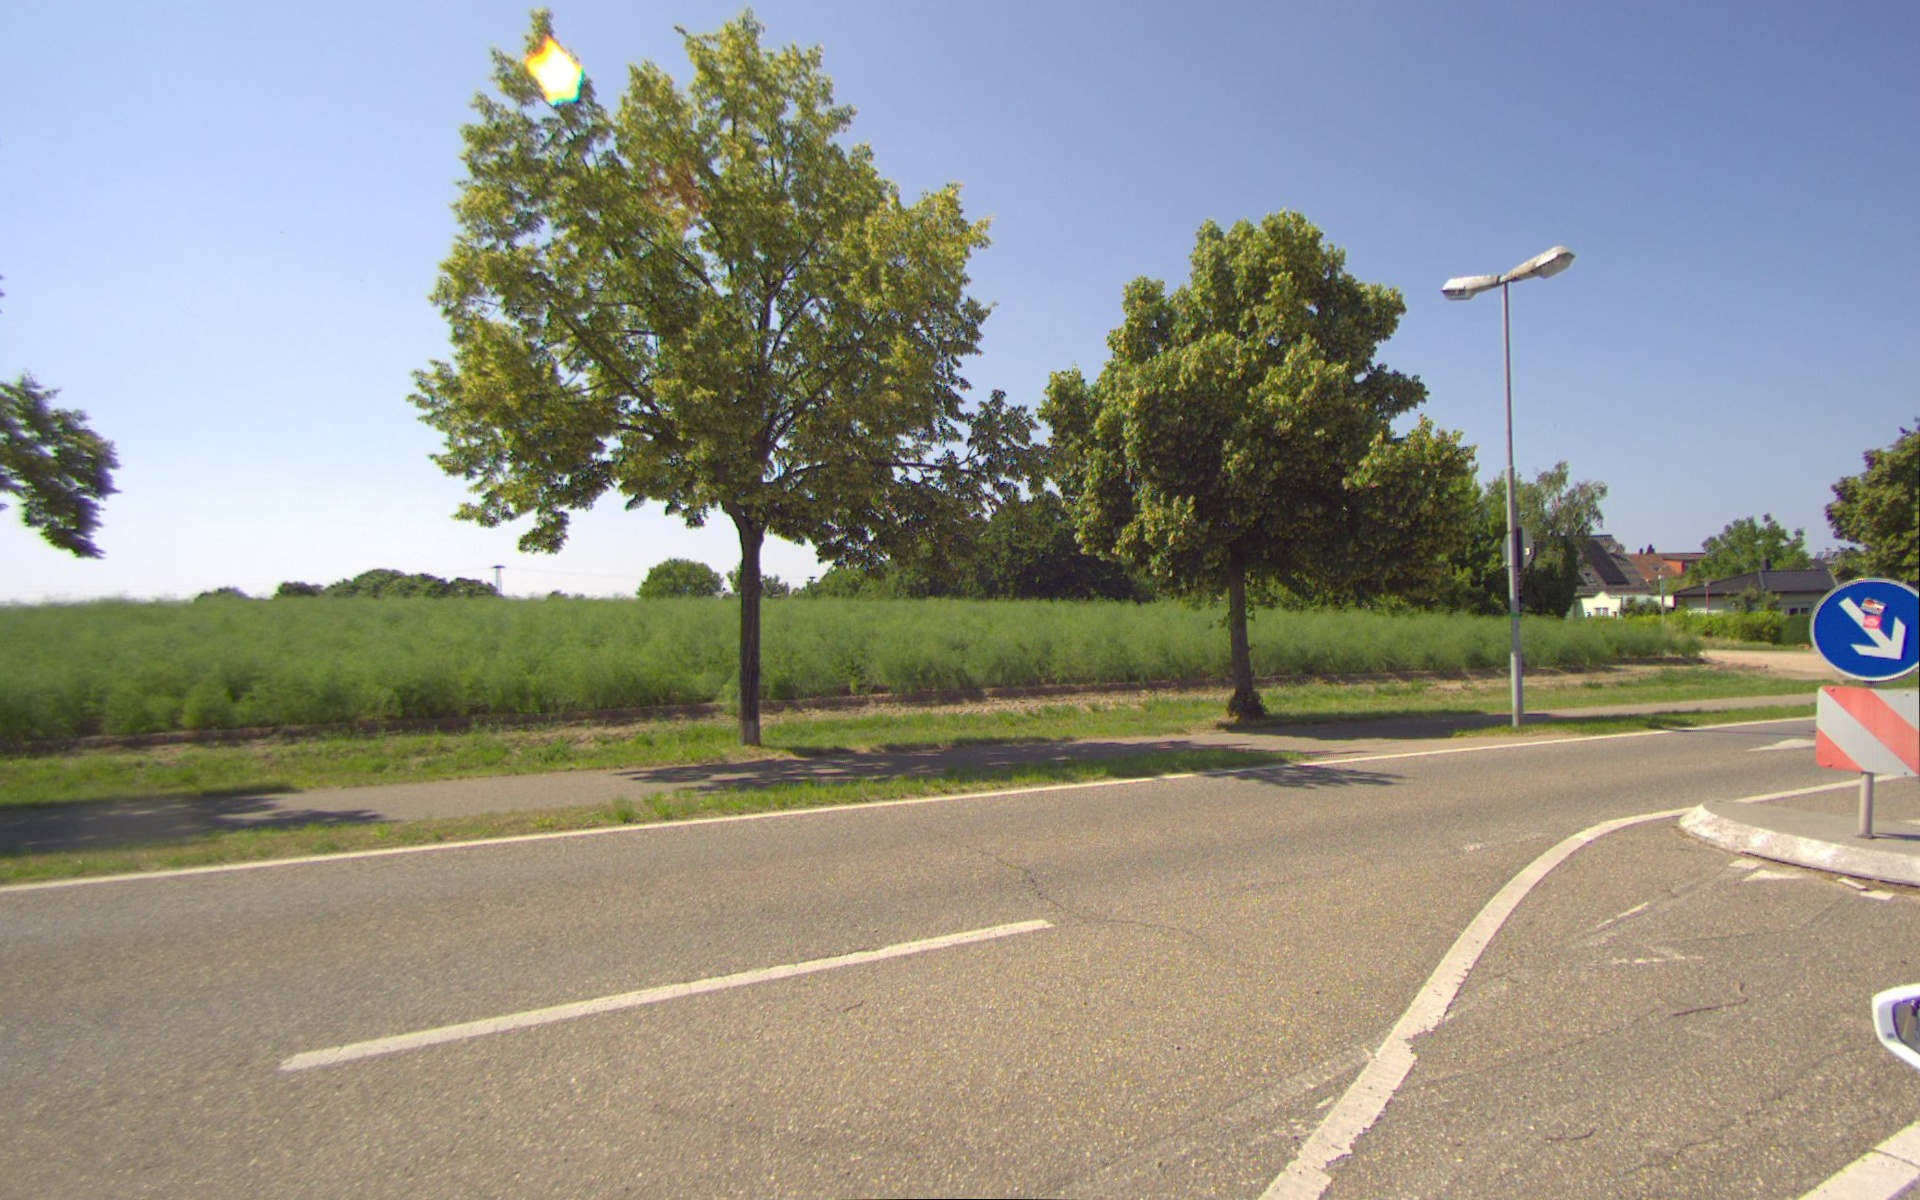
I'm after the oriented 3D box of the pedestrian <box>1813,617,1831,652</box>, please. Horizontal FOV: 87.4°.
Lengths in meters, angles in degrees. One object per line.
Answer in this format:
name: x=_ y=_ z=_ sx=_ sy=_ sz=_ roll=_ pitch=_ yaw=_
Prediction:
pedestrian: x=43.626 y=1.745 z=50.821 sx=0.667 sy=1.739 sz=0.547 roll=-1 pitch=0 yaw=43
